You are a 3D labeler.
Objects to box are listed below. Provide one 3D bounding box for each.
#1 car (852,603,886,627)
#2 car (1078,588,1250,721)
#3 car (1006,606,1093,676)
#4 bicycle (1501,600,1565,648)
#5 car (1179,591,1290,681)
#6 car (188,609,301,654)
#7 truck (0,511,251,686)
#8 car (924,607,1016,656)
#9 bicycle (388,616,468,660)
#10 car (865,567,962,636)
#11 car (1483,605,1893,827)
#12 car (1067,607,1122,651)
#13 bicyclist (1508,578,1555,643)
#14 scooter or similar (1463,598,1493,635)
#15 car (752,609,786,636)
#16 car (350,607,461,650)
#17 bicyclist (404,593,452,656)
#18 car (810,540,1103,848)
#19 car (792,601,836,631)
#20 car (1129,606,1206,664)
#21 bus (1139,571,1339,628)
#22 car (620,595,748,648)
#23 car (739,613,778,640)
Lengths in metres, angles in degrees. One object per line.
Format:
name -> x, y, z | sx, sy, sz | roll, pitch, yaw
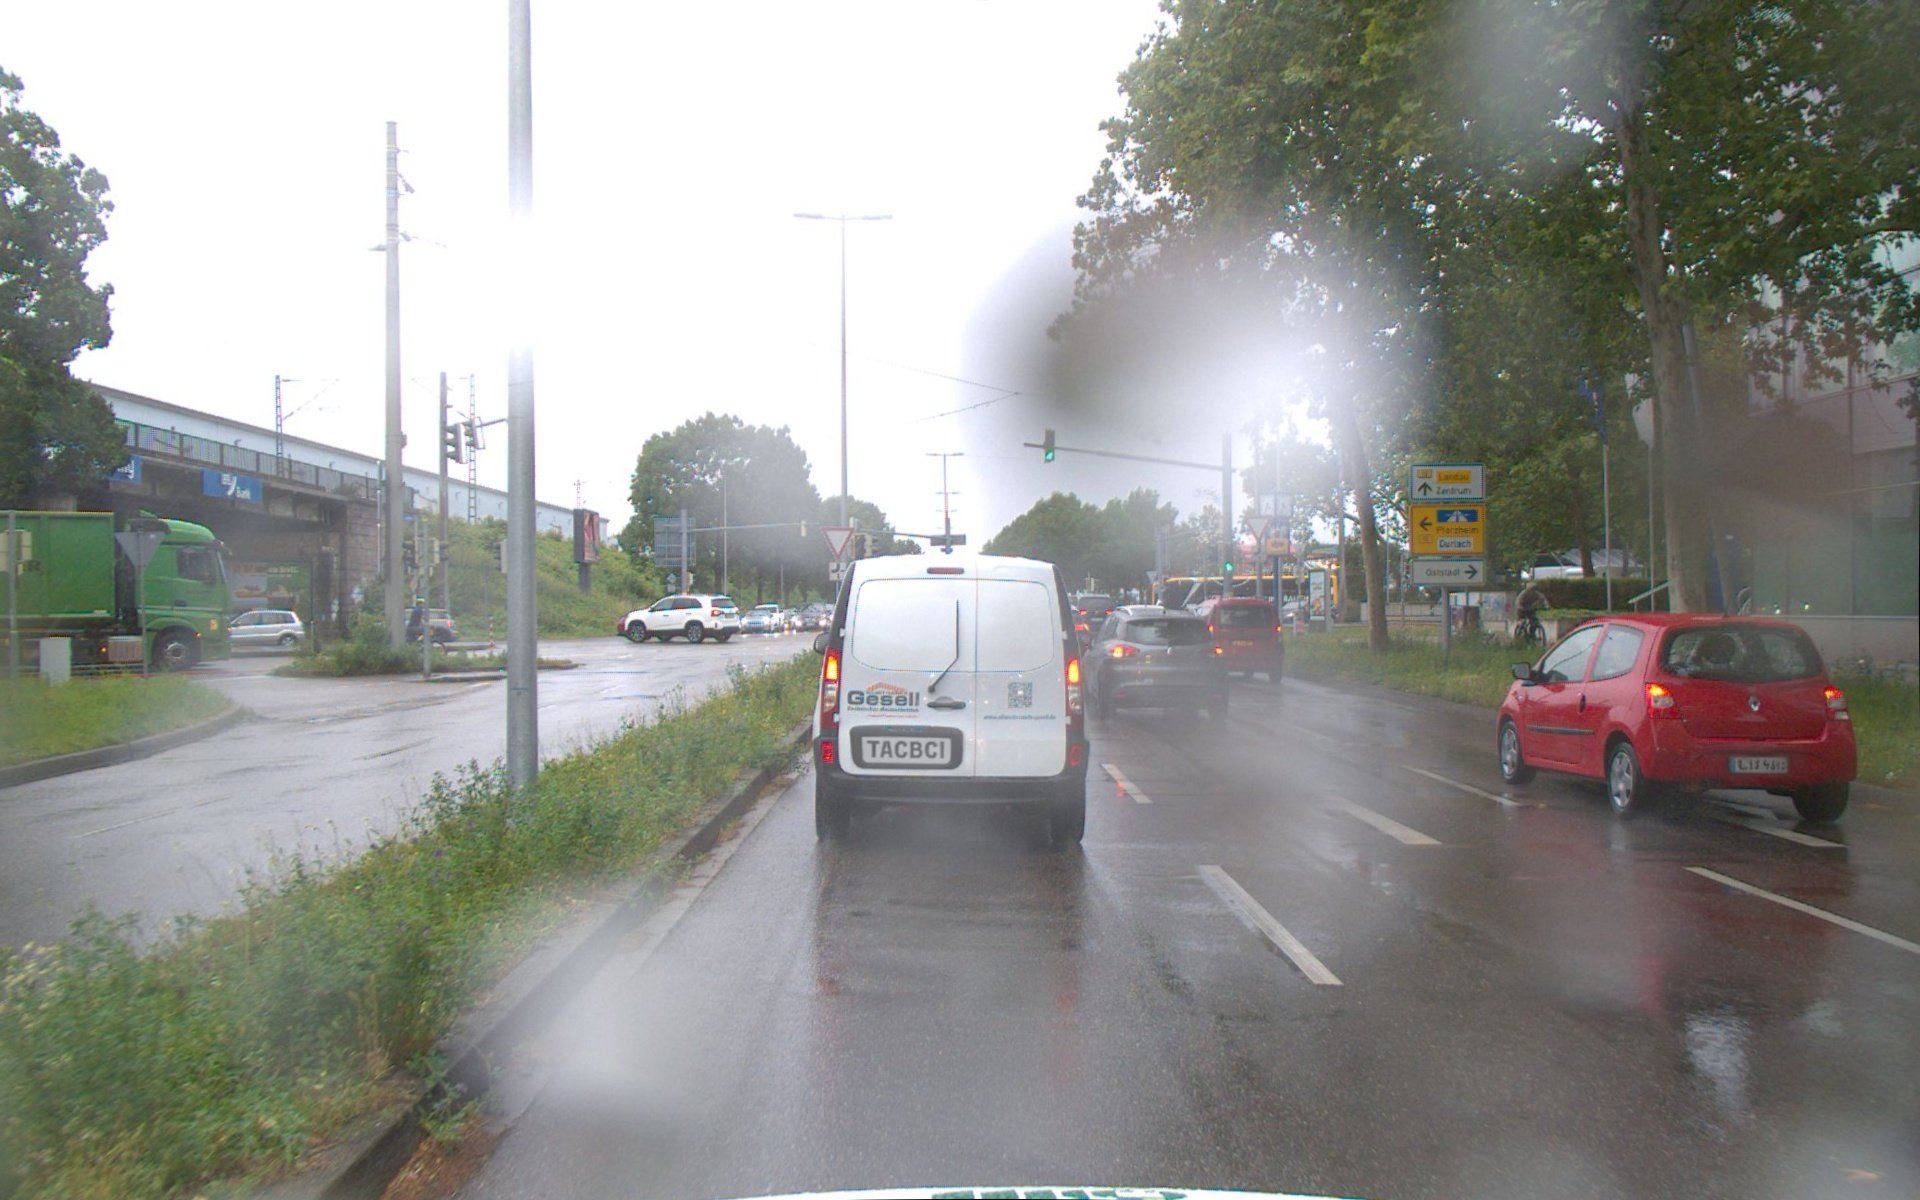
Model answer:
car -> -5.554, 0.910, 100.976 | 1.792, 1.382, 3.994 | -1, 0, -7
car -> 2.704, 0.700, 22.785 | 1.805, 1.646, 3.999 | 1, 0, -1
car -> 2.264, 1.007, 42.675 | 1.799, 1.684, 3.997 | 1, 0, -3
bicycle -> 14.066, 0.579, 40.653 | 0.728, 1.123, 2.076 | -3, 0, -3
car -> 5.490, 0.698, 33.463 | 1.599, 1.684, 3.484 | 1, 0, -1
car -> -27.306, 1.180, 63.165 | 3.794, 1.600, 1.848 | -1, 0, -30
truck -> -22.559, -0.029, 39.415 | 10.084, 4.018, 2.653 | -1, 0, -37
car -> 0.307, 1.093, 58.696 | 1.965, 1.647, 3.919 | -1, 0, -21
bicycle -> -13.850, 0.975, 43.059 | 1.885, 1.114, 0.688 | 1, 0, -28
car -> -1.503, 0.019, 51.555 | 1.960, 1.990, 4.801 | -2, 1, -15
car -> 5.581, 0.807, 13.185 | 1.644, 1.517, 3.620 | 0, 0, -1
car -> 5.233, 1.108, 64.751 | 1.952, 1.601, 4.001 | 0, 0, 1
bicyclist -> 14.038, 0.254, 40.647 | 0.789, 1.541, 0.751 | -3, -1, -4
scooter or similar -> 16.689, 0.541, 53.295 | 1.164, 1.158, 0.336 | -1, 0, -41
car -> -11.576, 1.344, 100.495 | 1.791, 1.508, 3.997 | -1, 0, -4
car -> -20.791, 1.053, 62.165 | 3.823, 1.543, 1.801 | -1, 0, -16
bicyclist -> -13.847, 0.630, 43.059 | 1.032, 1.621, 0.797 | 1, -1, -29
car -> -0.043, 0.561, 11.813 | 1.720, 1.808, 3.999 | 1, 0, -1
car -> -8.478, 0.915, 96.134 | 1.980, 1.686, 4.063 | -1, 0, 3
car -> 6.158, 1.013, 49.438 | 1.805, 1.646, 4.000 | 1, 0, 0
bus -> 17.493, -0.024, 104.175 | 12.001, 3.325, 3.274 | -1, 0, -1
car -> -10.235, 0.787, 61.293 | 4.341, 1.878, 1.997 | -1, 0, 28
car -> -11.432, 1.484, 94.057 | 1.854, 1.373, 3.998 | -1, 0, -3
